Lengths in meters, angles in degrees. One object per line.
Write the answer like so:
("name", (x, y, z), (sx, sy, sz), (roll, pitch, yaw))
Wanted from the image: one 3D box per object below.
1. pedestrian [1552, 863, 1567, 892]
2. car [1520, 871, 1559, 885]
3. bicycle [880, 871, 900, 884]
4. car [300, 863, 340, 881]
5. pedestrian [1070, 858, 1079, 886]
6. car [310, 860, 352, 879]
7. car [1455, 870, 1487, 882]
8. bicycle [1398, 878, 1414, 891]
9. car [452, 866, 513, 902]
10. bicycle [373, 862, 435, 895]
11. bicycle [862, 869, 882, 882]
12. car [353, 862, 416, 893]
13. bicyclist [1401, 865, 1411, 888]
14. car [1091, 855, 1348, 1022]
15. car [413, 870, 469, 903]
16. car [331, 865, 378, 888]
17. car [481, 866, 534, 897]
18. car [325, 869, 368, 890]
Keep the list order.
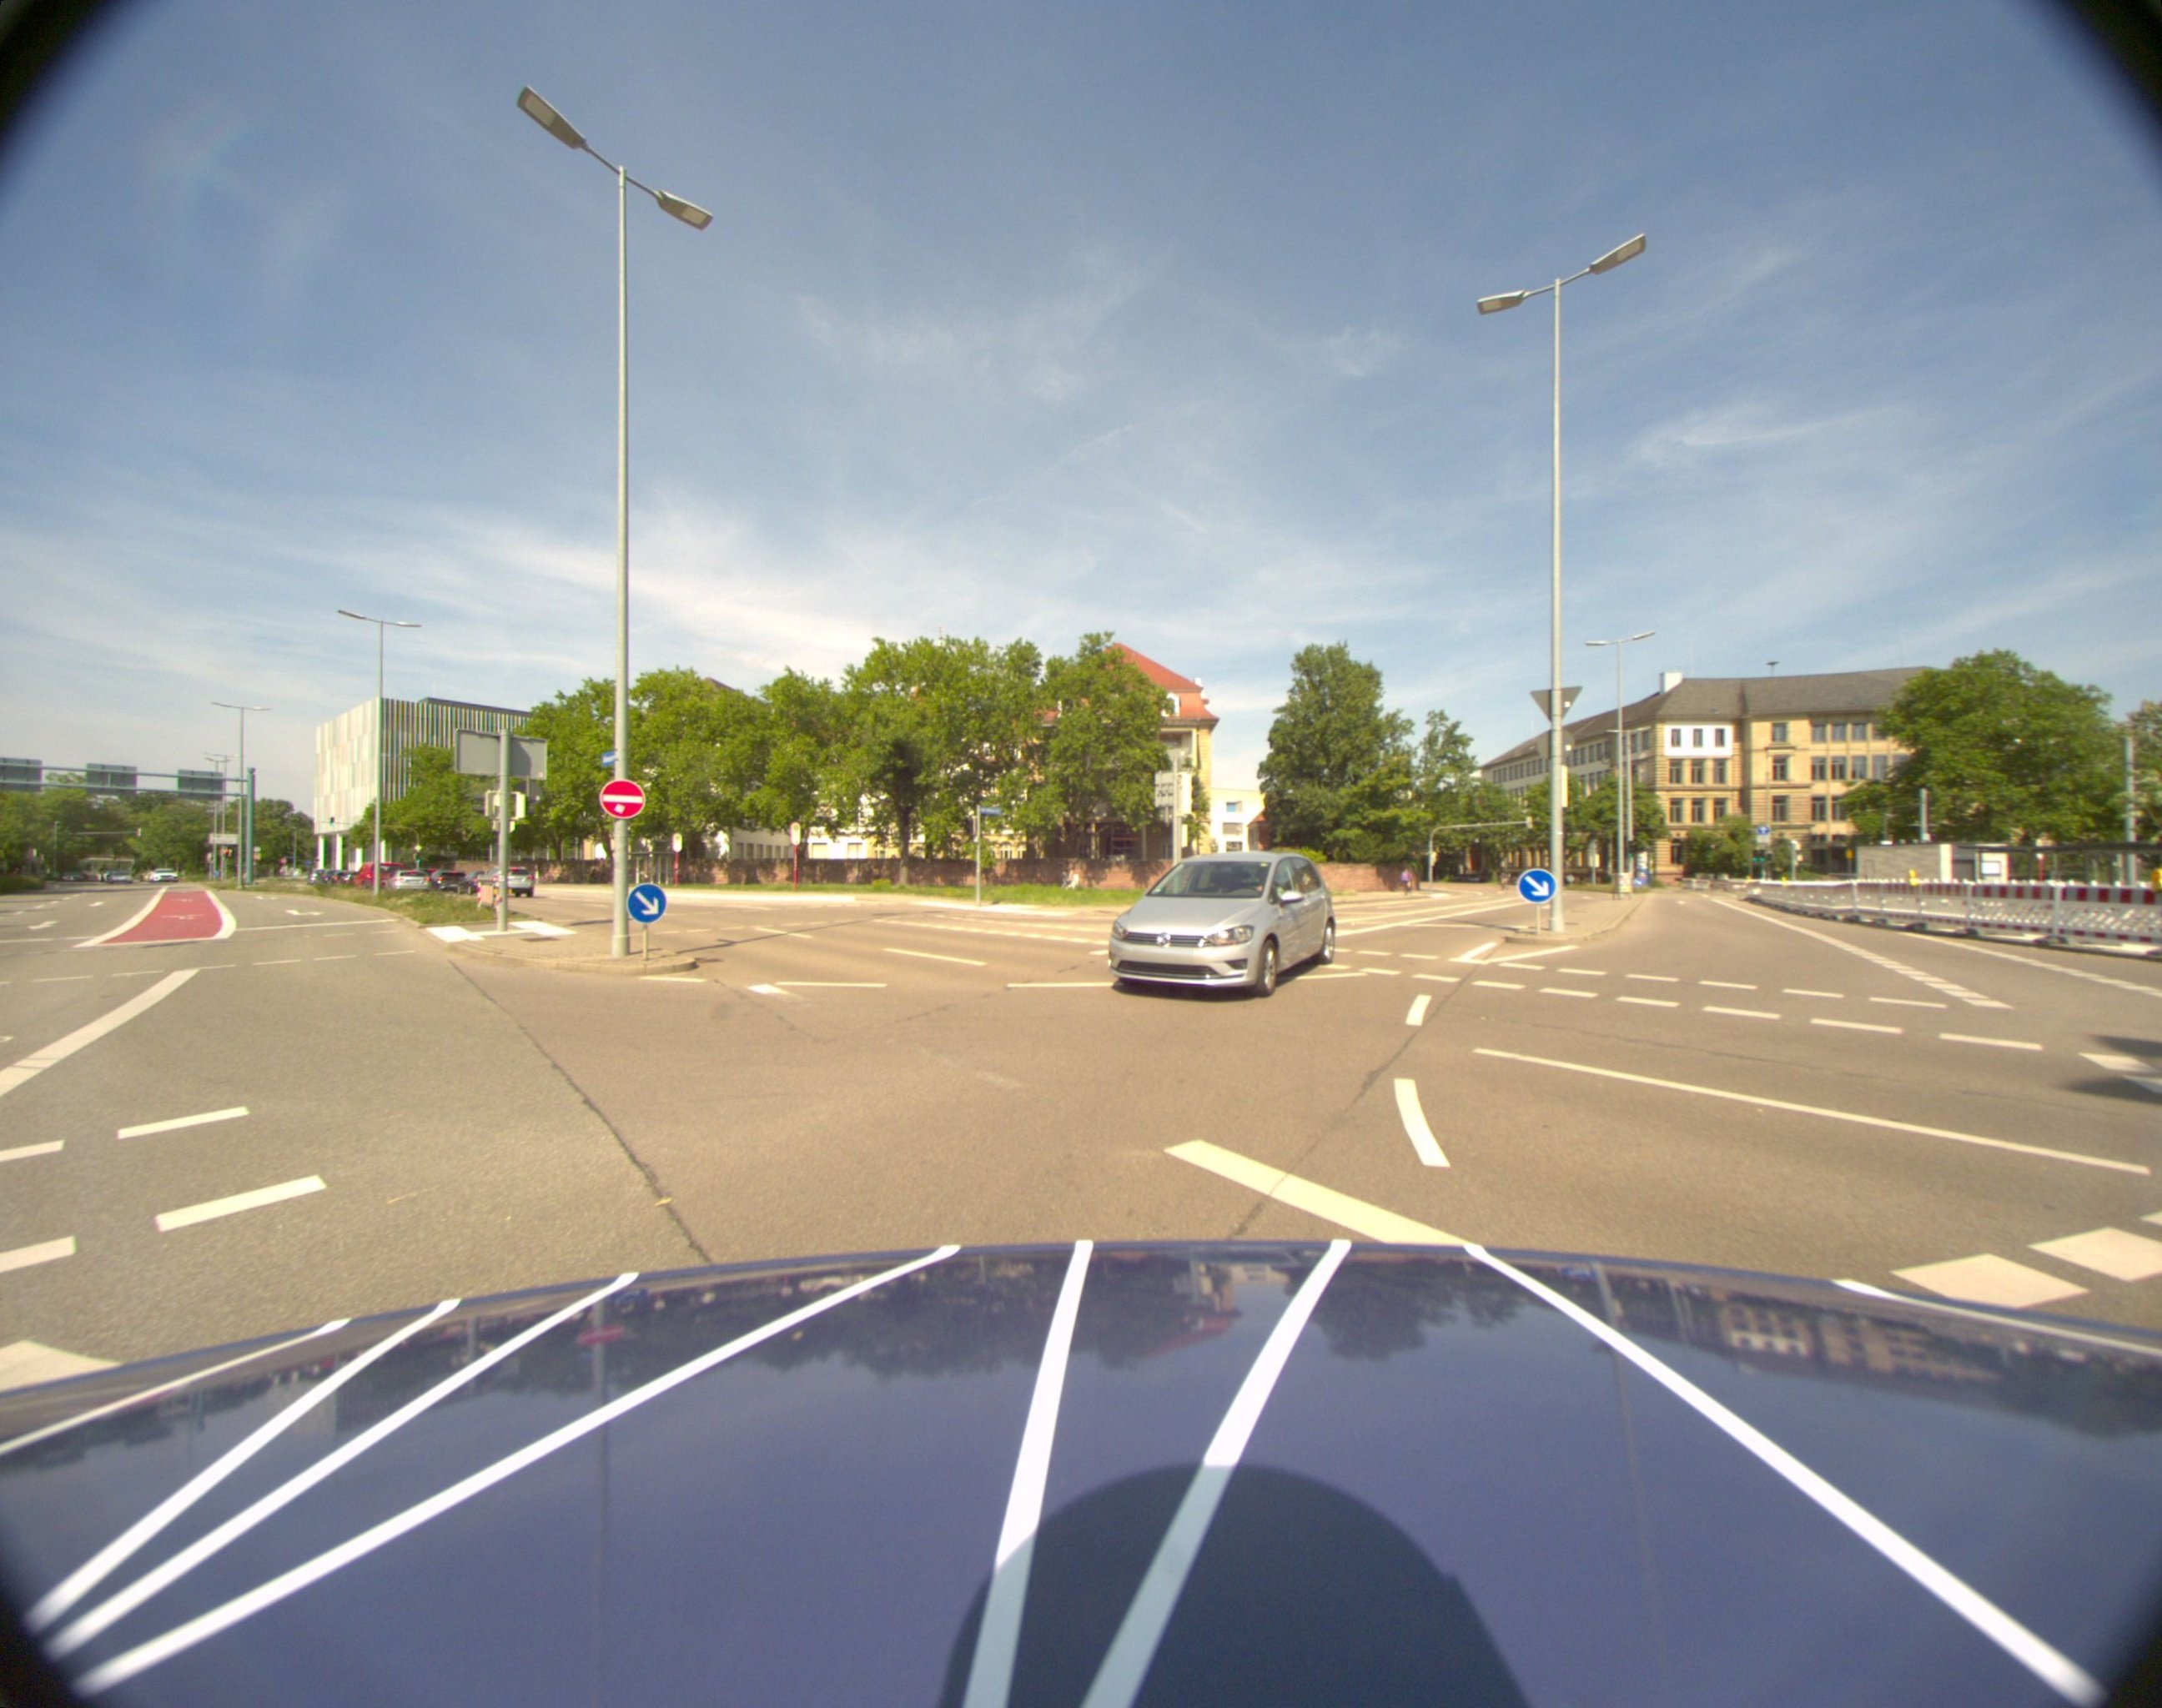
("pedestrian", (33.423, 1.638, 53.119), (0.793, 2.001, 0.617), (0, -1, 22))
("car", (60.780, 3.209, 100.810), (3.996, 1.652, 2.000), (-2, 1, 2))
("bicycle", (-14.797, 1.809, 58.922), (1.445, 1.027, 0.448), (0, 0, 11))
("car", (-67.620, 1.619, 67.530), (3.988, 1.502, 1.803), (0, 1, 35))
("pedestrian", (-0.492, 1.288, 54.691), (0.596, 2.002, 0.523), (0, 0, -4))
("car", (-62.760, 1.308, 63.553), (3.988, 1.502, 1.803), (0, 1, 35))
("car", (61.681, 3.455, 120.107), (3.997, 1.652, 2.000), (-2, 1, 1))
("bicycle", (22.779, 2.137, 53.252), (0.683, 0.882, 1.937), (0, -1, 35))
("car", (-35.548, 1.783, 45.126), (3.989, 2.001, 2.004), (-4, -3, 39))
("bicycle", (-38.905, 1.367, 43.627), (3.988, 1.804, 2.004), (0, 0, 39))
("bicycle", (-16.312, 1.662, 59.201), (1.445, 1.027, 0.448), (0, 0, 11))
("car", (-43.656, 1.441, 47.598), (4.598, 1.786, 1.984), (0, -1, 36))
("bicyclist", (22.920, 1.576, 53.585), (0.487, 1.627, 1.087), (0, 0, 34))
("car", (1.928, 0.809, 9.394), (1.684, 1.576, 4.160), (0, 0, 32))
("car", (-41.433, 2.130, 49.173), (3.989, 2.001, 2.004), (-4, -3, 39))
("car", (-52.069, 1.587, 54.424), (3.988, 1.502, 1.803), (0, 1, 37))
("car", (-31.131, 1.452, 41.194), (4.205, 1.608, 1.715), (0, -1, 45))
("car", (-57.287, 1.941, 59.221), (3.988, 1.502, 1.803), (0, 1, 37))
